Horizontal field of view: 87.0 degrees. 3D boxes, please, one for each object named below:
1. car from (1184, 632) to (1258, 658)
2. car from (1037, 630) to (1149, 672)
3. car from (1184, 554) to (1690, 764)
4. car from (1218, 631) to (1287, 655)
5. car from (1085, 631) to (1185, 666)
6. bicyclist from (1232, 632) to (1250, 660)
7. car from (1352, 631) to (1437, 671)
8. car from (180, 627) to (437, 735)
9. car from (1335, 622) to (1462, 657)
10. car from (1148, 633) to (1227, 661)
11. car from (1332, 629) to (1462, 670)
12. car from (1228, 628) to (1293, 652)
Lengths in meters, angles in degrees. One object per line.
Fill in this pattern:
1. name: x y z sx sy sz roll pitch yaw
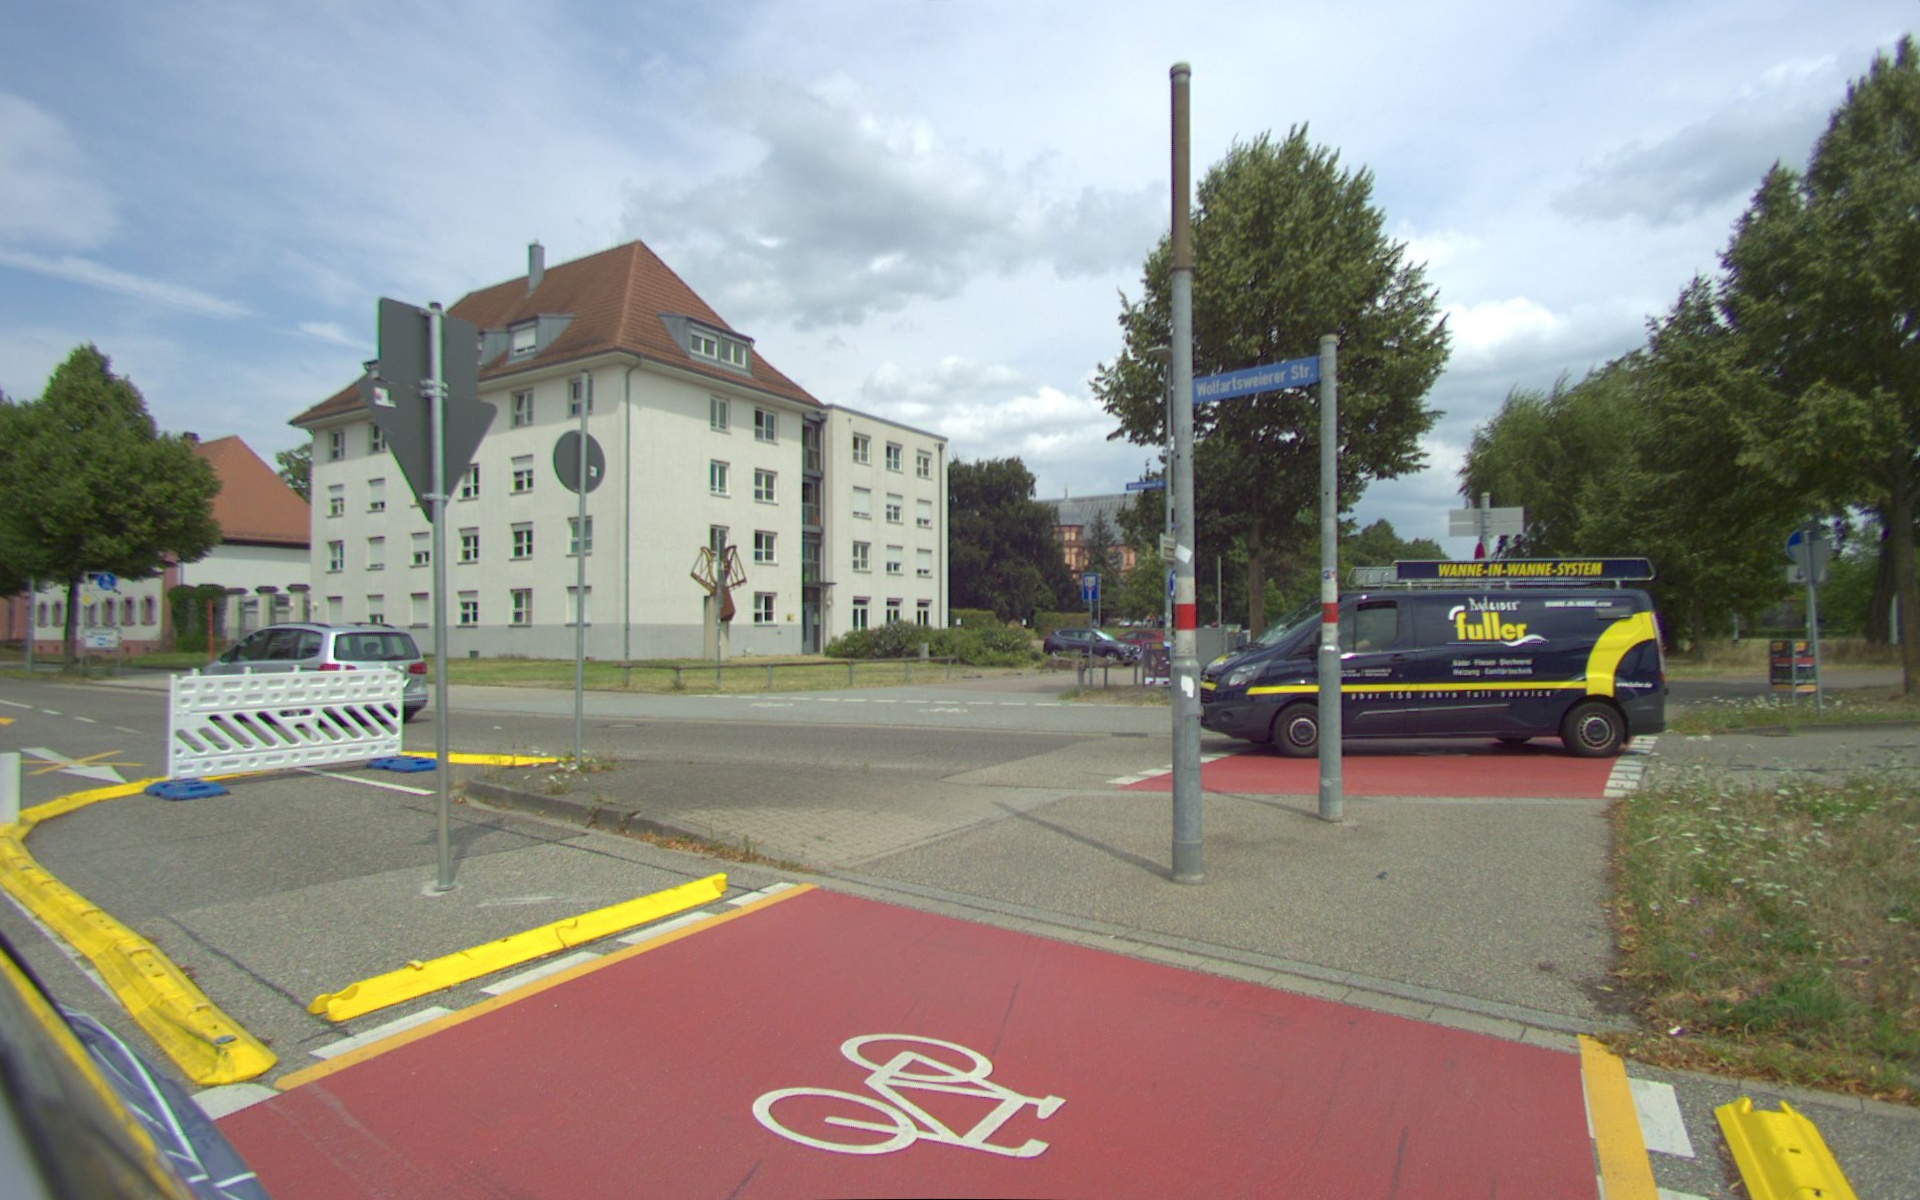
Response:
1. car: 15.729 2.710 60.955 3.993 1.479 1.798 -1 -2 31
2. car: 5.839 2.210 44.469 4.484 1.778 1.979 -1 -2 31
3. car: 5.516 0.693 12.274 5.088 2.290 1.999 -1 -2 1
4. car: 19.161 2.818 66.328 3.993 1.479 1.798 -1 -2 31
5. car: 8.498 2.326 49.222 4.394 1.610 1.977 -2 -2 33
6. bicyclist: 14.702 2.393 52.962 0.601 1.434 0.793 -2 -3 39
7. car: 16.862 1.992 39.292 2.900 1.434 1.471 -4 -4 26
8. car: -11.215 1.312 17.339 4.729 1.635 1.783 -2 -2 30
9. car: 19.076 1.706 44.107 4.873 1.482 1.813 -2 -2 33
10. car: 12.561 2.601 55.920 3.993 1.479 1.598 -1 -2 31
11. car: 17.918 2.021 41.593 4.687 1.482 1.815 -4 -3 30
12. car: 20.974 2.803 70.678 3.993 1.586 1.798 -2 -3 31
